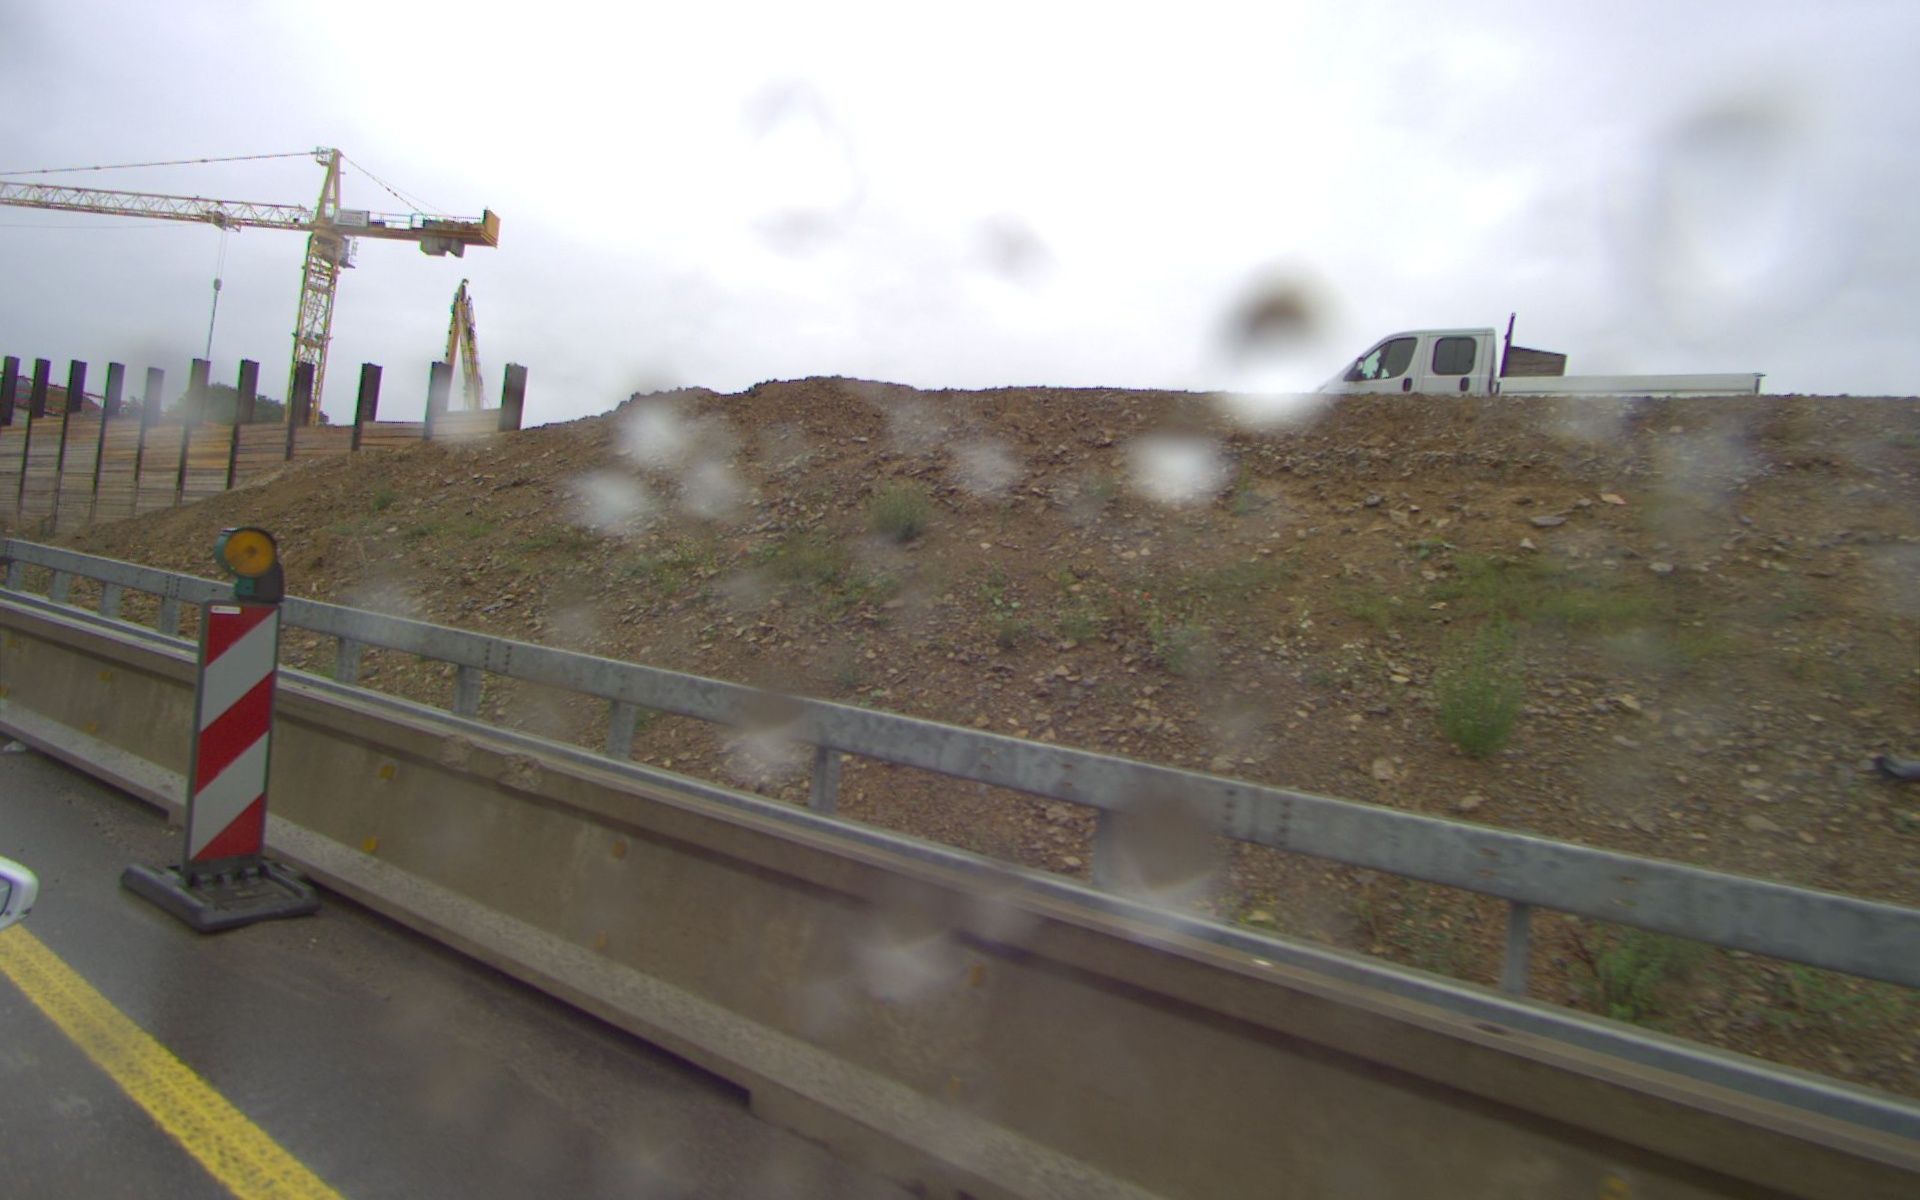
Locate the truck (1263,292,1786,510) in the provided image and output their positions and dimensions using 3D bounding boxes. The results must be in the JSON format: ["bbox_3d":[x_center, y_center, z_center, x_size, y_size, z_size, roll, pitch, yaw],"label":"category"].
[{"bbox_3d":[8.896,-3.039,16.663,6.867,2.584,2.651,4,-2,30],"label":"truck"}]

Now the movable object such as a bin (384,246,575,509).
[{"bbox_3d":[-24.483,-10.581,50.933,10.176,10.969,4.706,3,-2,45],"label":"movable object such as a bin"}]
